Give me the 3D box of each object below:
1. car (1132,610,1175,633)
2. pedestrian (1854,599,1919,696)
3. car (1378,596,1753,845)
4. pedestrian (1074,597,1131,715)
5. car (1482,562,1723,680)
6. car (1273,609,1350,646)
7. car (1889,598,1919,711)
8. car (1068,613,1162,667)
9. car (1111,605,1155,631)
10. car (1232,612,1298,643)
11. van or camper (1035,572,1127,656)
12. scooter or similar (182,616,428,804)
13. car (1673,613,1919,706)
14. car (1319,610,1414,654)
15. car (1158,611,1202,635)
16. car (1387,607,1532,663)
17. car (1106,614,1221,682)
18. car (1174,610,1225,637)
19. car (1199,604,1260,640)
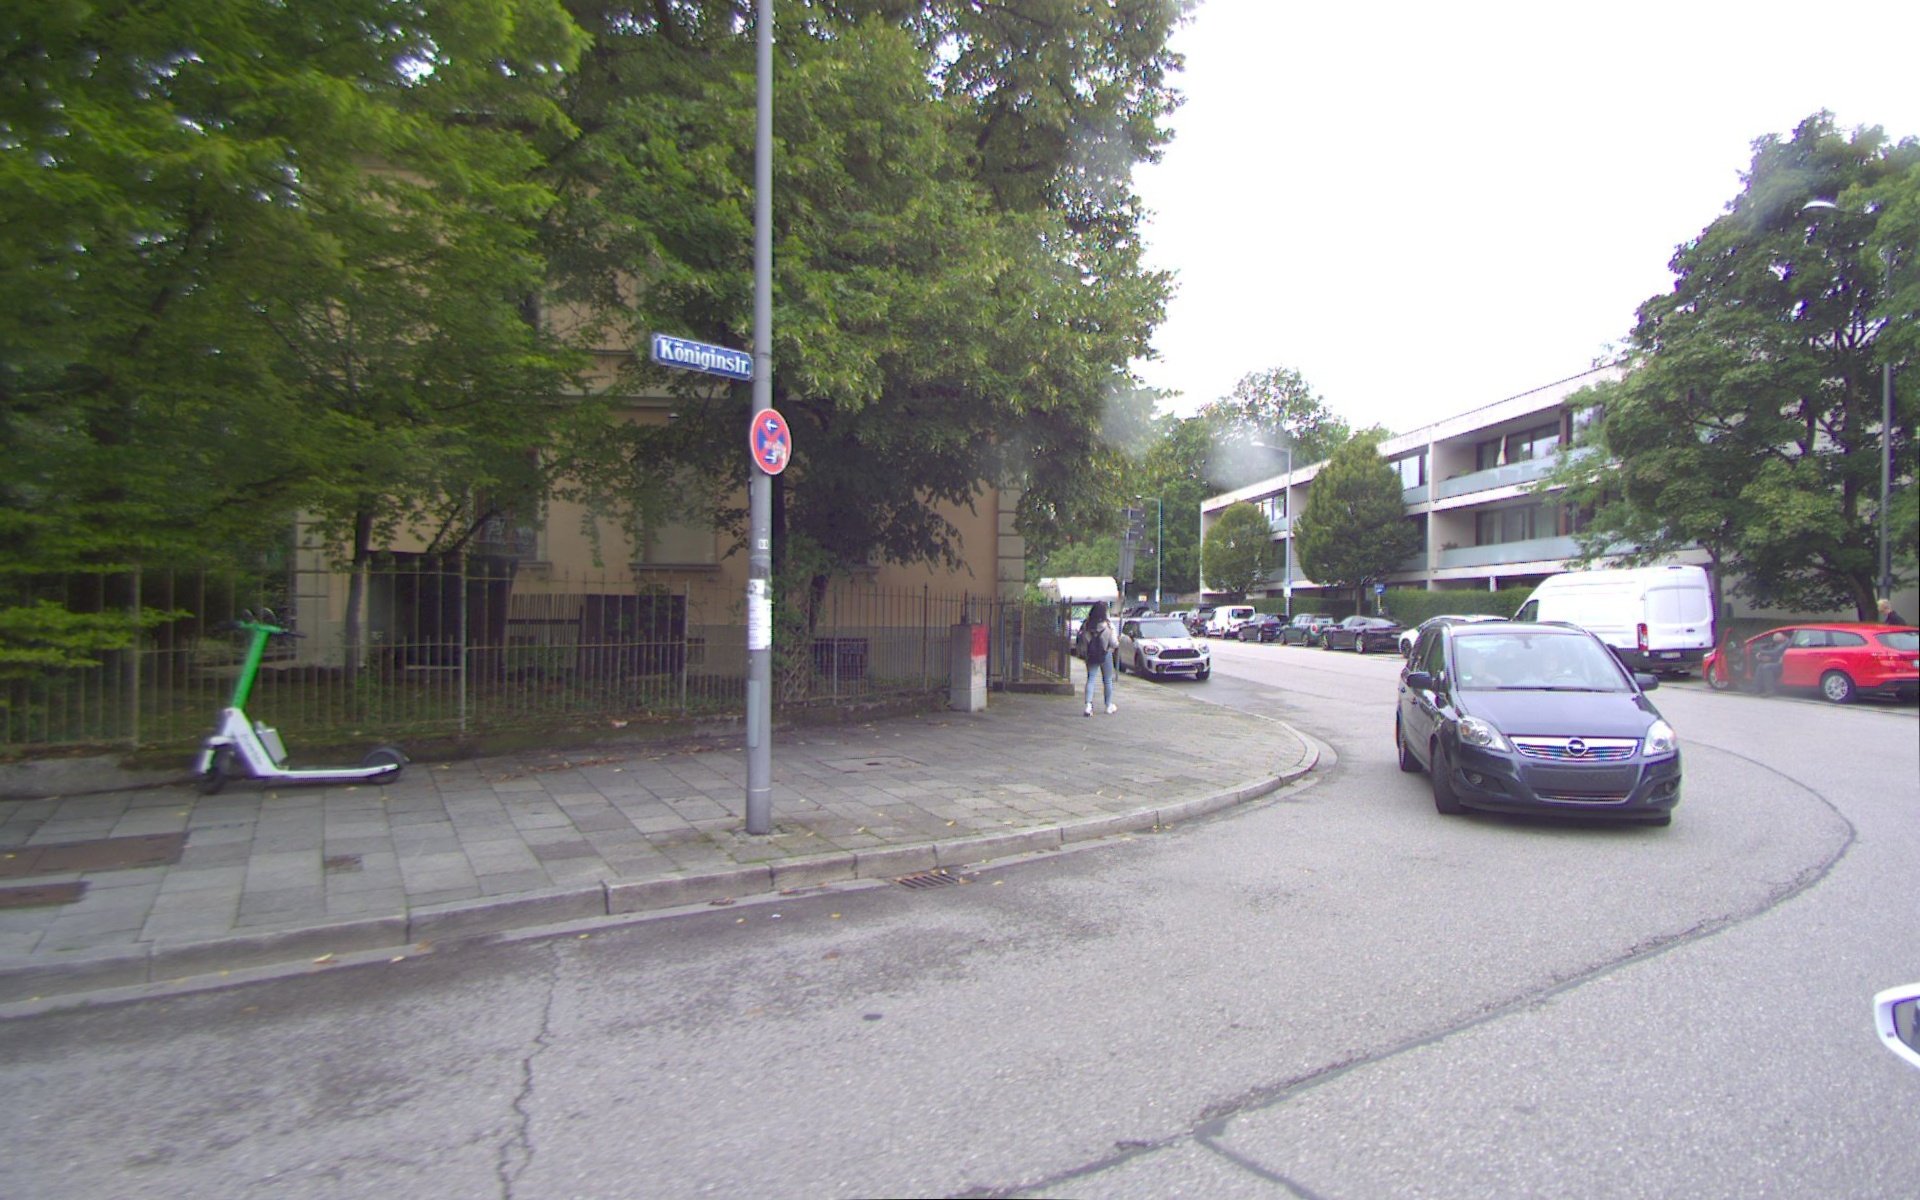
[{"bbox_3d":[13.780,1.505,71.692,1.721,1.560,4.564,1,0,-7],"label":"car"},{"bbox_3d":[18.982,0.951,20.435,0.782,1.929,0.865,2,0,2],"label":"pedestrian"},{"bbox_3d":[5.160,0.924,9.299,1.960,1.715,4.336,-1,-2,17],"label":"car"},{"bbox_3d":[2.043,0.783,14.477,0.642,1.625,0.740,3,0,0],"label":"pedestrian"},{"bbox_3d":[16.765,0.480,26.740,2.047,2.722,6.082,-1,0,-6],"label":"car"},{"bbox_3d":[15.679,1.188,45.068,1.699,1.549,4.201,-1,0,-5],"label":"car"},{"bbox_3d":[17.566,0.930,15.317,1.904,1.930,5.069,-2,0,-3],"label":"car"},{"bbox_3d":[4.963,1.236,32.791,1.905,1.528,4.818,-2,0,-5],"label":"car"},{"bbox_3d":[13.217,1.398,77.070,1.957,1.896,5.073,1,-1,-7],"label":"car"},{"bbox_3d":[15.233,1.337,50.387,1.720,1.483,4.239,0,0,-5],"label":"car"},{"bbox_3d":[4.617,0.517,39.701,2.415,2.980,7.208,-1,0,-3],"label":"van or camper"},{"bbox_3d":[-4.578,0.743,7.101,1.403,1.206,0.388,1,4,-31],"label":"scooter or similar"},{"bbox_3d":[17.381,1.110,20.551,1.841,1.527,4.833,-2,0,-6],"label":"car"},{"bbox_3d":[15.899,1.204,39.623,1.261,1.526,5.203,-2,0,-4],"label":"car"},{"bbox_3d":[14.418,1.516,66.007,1.720,1.500,3.885,1,0,-5],"label":"car"},{"bbox_3d":[16.452,1.102,33.443,1.842,1.590,4.995,-2,1,-7],"label":"car"},{"bbox_3d":[5.335,1.203,26.933,1.905,1.555,4.529,-2,0,-3],"label":"car"},{"bbox_3d":[14.576,1.418,61.392,1.720,1.500,4.594,1,0,-4],"label":"car"},{"bbox_3d":[15.031,1.203,56.262,1.793,1.885,4.896,2,0,-3],"label":"car"}]
